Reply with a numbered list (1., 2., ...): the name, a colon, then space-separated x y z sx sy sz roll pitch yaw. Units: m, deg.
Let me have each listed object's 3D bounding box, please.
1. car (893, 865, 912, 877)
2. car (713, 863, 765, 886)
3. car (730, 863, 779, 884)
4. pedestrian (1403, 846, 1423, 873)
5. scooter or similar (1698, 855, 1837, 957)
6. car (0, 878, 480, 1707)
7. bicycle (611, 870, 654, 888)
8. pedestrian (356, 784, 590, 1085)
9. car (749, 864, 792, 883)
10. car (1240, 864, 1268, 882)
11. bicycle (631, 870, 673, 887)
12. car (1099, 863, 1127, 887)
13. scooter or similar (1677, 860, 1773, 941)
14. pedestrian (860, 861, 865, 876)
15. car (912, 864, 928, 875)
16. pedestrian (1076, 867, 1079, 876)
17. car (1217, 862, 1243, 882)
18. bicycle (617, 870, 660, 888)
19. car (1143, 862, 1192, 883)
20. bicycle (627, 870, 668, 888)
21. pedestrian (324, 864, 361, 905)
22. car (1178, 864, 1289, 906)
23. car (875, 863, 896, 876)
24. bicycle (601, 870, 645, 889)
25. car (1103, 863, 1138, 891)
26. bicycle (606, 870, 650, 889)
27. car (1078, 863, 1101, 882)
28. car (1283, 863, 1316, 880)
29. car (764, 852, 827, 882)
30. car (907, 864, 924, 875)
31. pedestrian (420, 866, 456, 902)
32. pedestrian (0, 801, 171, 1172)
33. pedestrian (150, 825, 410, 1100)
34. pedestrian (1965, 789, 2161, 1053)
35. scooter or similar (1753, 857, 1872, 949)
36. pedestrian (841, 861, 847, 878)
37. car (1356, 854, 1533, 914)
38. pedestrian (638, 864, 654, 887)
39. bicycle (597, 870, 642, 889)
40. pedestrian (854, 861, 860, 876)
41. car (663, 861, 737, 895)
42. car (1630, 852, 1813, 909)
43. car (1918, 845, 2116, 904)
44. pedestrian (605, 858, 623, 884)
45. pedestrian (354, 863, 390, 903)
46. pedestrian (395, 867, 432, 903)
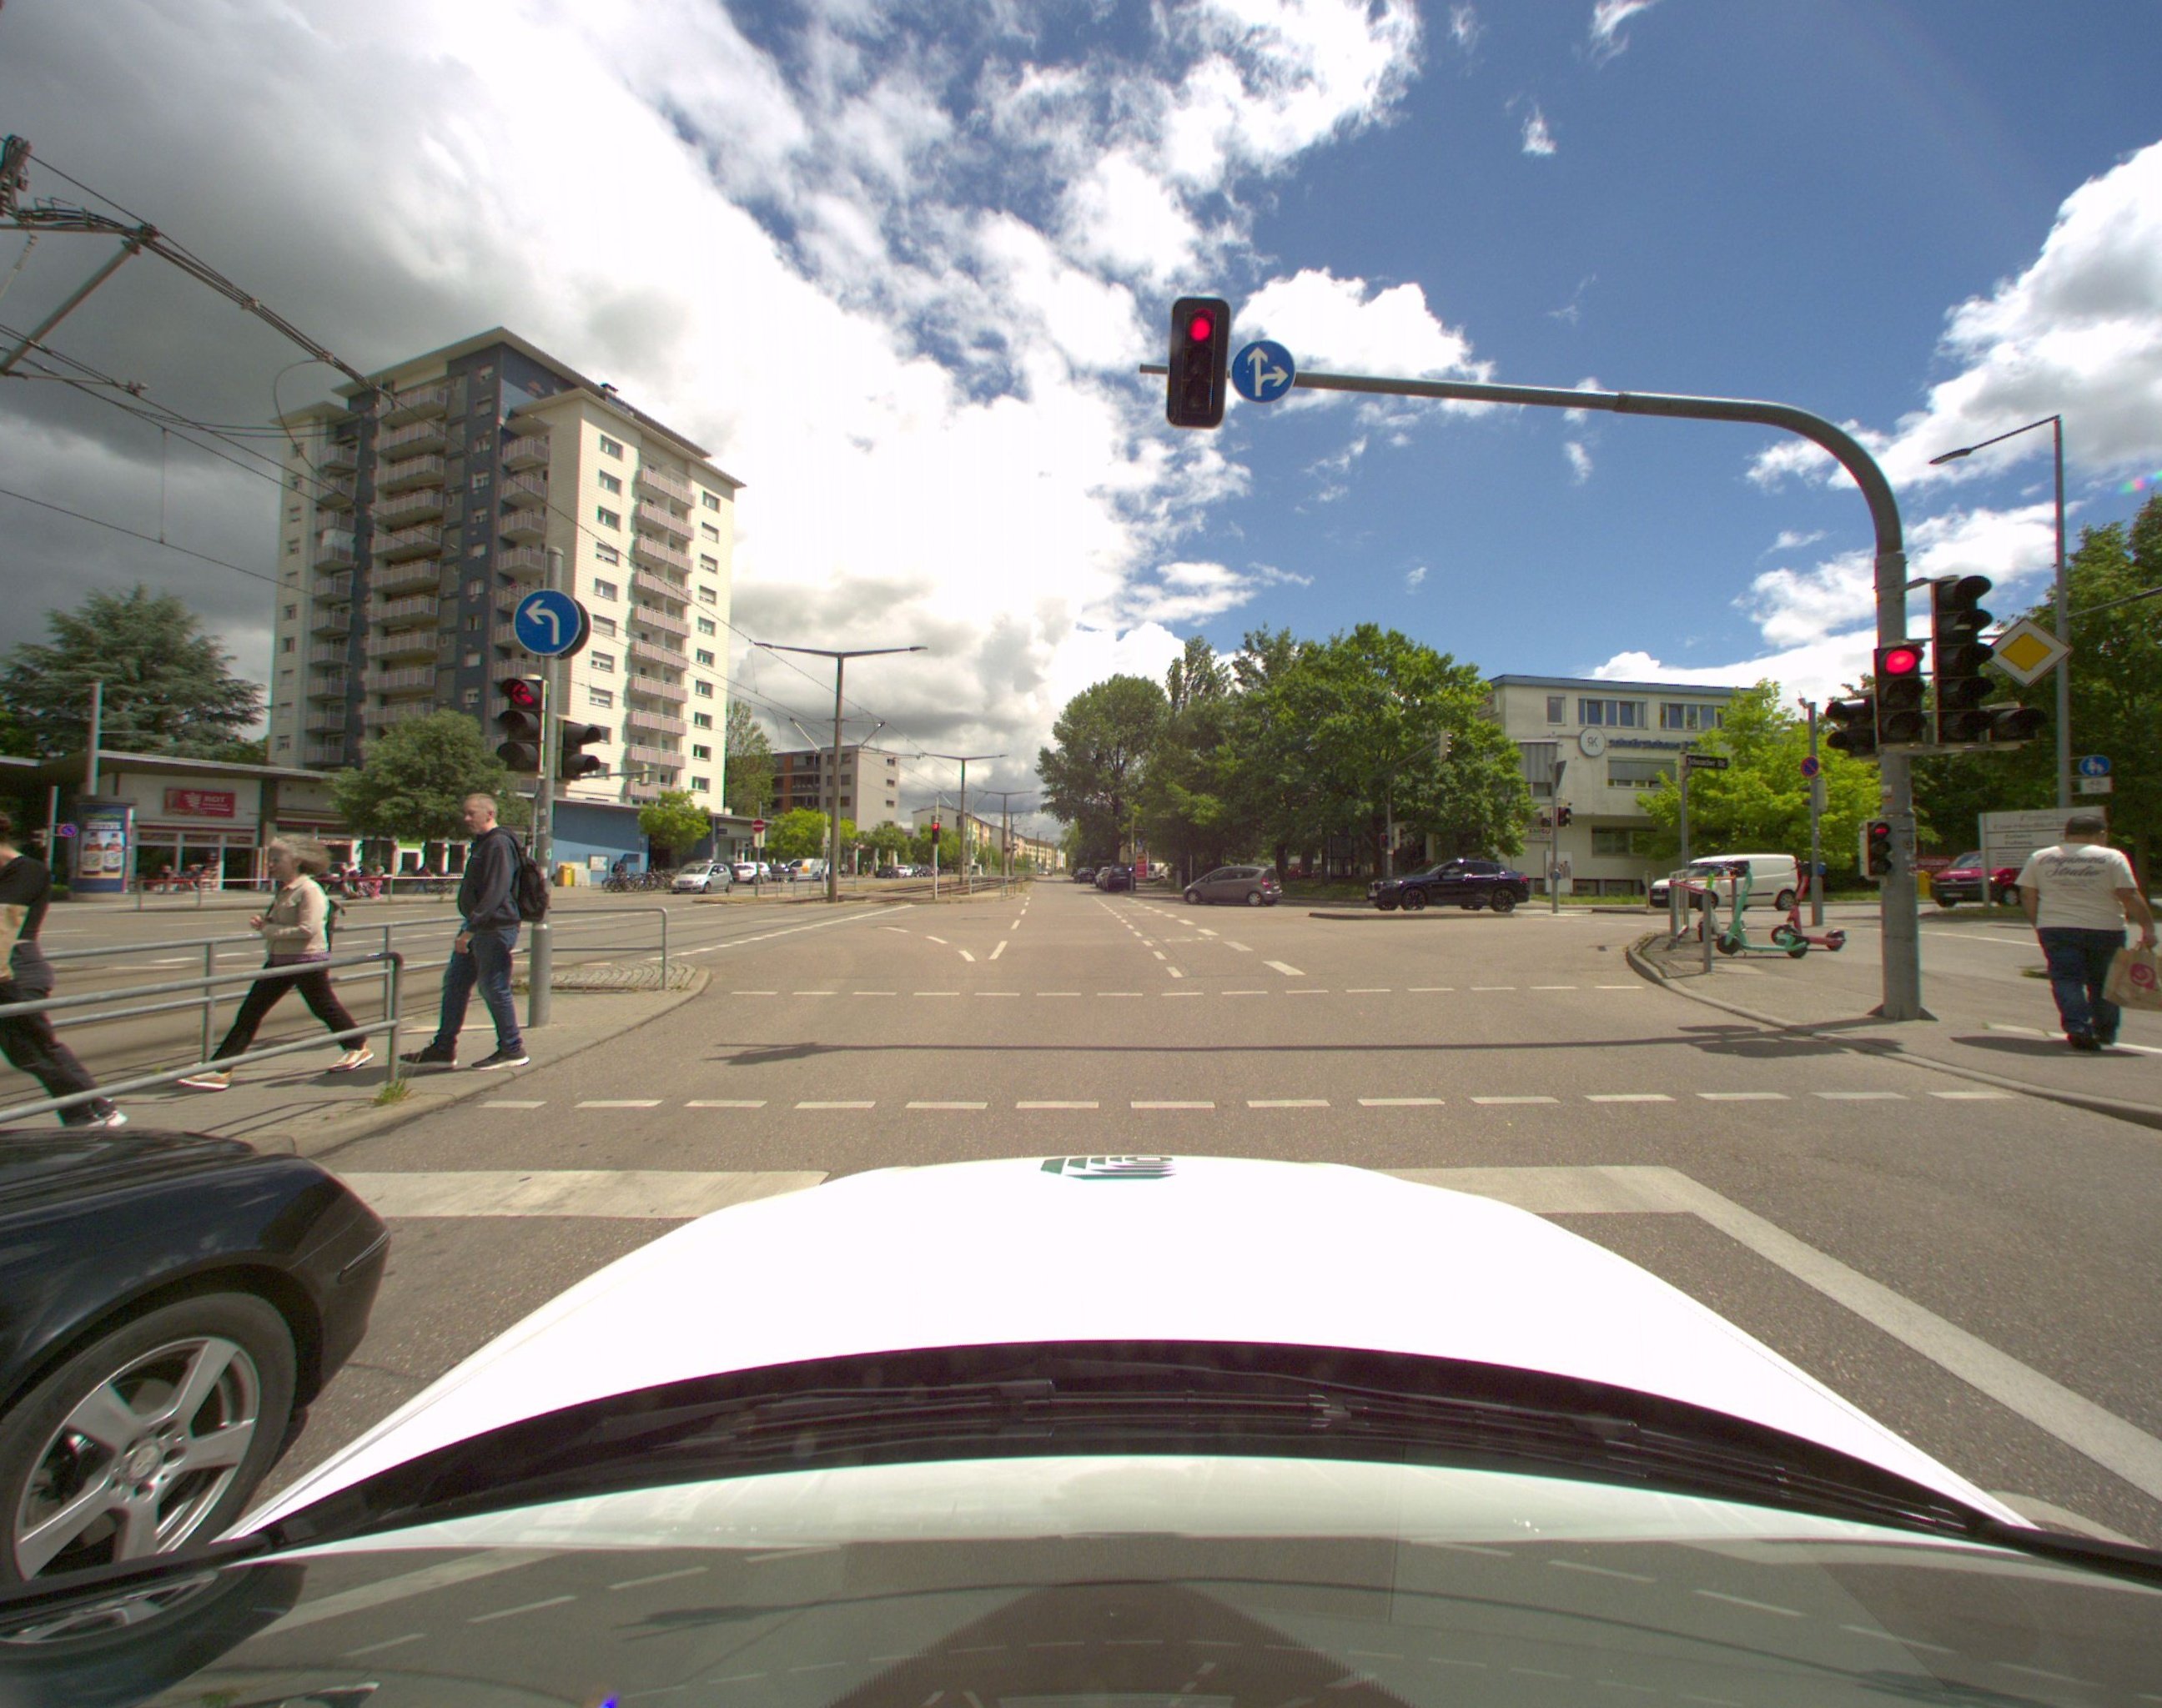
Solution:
1. car: -21.667 2.065 99.106 1.758 1.395 3.993 0 0 -5
2. car: -24.666 1.421 58.666 4.165 1.570 1.973 -1 -1 45
3. car: -24.859 1.443 61.943 4.165 1.538 1.973 -1 -1 45
4. pedestrian: 20.050 0.339 49.216 0.768 1.643 0.904 0 -1 -11
5. scooter or similar: 8.850 0.655 10.534 1.336 1.277 0.463 0 0 8
6. car: -2.744 0.792 0.182 1.721 1.461 4.546 0 0 2
7. bicycle: -23.534 1.317 42.776 1.943 0.935 0.494 0 -1 -5
8. pedestrian: -4.213 0.520 5.732 0.963 1.942 0.896 0 0 -3
9. car: -24.912 1.558 65.210 1.800 1.420 4.166 0 -1 -43
10. car: 15.921 1.760 75.113 1.626 1.573 4.030 0 0 -1
11. bicycle: -23.365 1.332 44.381 1.943 0.935 0.494 0 -1 -5
12. car: 2.328 1.562 59.341 1.986 1.684 4.001 0 -1 2
13. scooter or similar: 9.751 0.688 12.323 1.360 1.156 0.540 1 0 -23
14. pedestrian: -24.984 1.608 93.127 0.547 1.716 0.667 0 -1 -8
15. car: -21.815 2.043 110.352 1.758 1.395 3.993 0 0 -5
16. pedestrian: -0.651 2.929 137.269 0.477 1.637 0.454 0 -1 1
17. car: 13.643 1.644 74.644 1.626 1.811 4.030 0 0 -1
18. bicycle: -23.521 1.322 43.322 1.943 0.935 0.494 0 -1 -5
19. car: 7.765 1.636 73.295 4.001 1.823 1.766 0 -1 -21
20. bicycle: -23.348 1.326 43.880 1.943 0.935 0.494 0 -1 -5
21. pedestrian: -30.524 1.248 33.667 1.105 1.659 0.936 0 -2 -44
22. car: 6.042 1.181 32.299 3.869 1.556 2.013 0 -1 32
23. car: -22.011 1.695 91.798 1.758 1.395 3.993 0 0 -5
24. bicycle: -23.485 1.306 41.793 1.943 0.935 0.494 0 -1 -5
25. car: 2.487 1.455 51.886 2.144 1.684 4.001 0 -1 2
26. bicycle: -23.510 1.311 42.299 1.943 0.935 0.494 0 -1 -5
27. car: 0.804 1.705 74.558 1.986 1.684 4.002 0 0 2
28. car: 20.559 1.638 76.682 1.728 1.595 3.992 0 0 -5
29. car: -24.689 1.090 70.209 2.848 2.479 6.641 0 -1 -42
30. car: -21.461 2.042 105.776 1.758 1.395 3.993 0 0 -5
31. pedestrian: -30.378 1.426 38.470 0.957 1.659 1.002 -1 -1 27
32. pedestrian: -5.605 0.630 4.188 0.933 1.765 0.769 0 0 -10
33. pedestrian: -5.423 0.671 5.563 0.861 1.674 0.960 -2 -1 18
34. pedestrian: 7.351 0.460 6.027 0.868 1.808 0.739 0 0 -10
35. scooter or similar: 10.236 0.676 11.411 1.225 1.240 0.555 2 0 -7
36. pedestrian: -24.006 1.553 82.491 0.545 1.716 0.405 0 -1 1
37. car: 10.978 0.868 24.773 4.553 1.717 1.995 0 0 -7
38. pedestrian: -29.771 1.464 55.758 0.767 1.615 0.695 0 -1 -12
39. bicycle: -23.431 1.301 41.329 1.943 0.935 0.494 0 -1 -5
40. pedestrian: -25.092 1.594 91.253 0.547 1.716 0.404 0 -1 -8
41. car: -19.812 1.218 42.576 1.930 1.693 3.874 0 0 2
42. car: 20.376 0.816 26.013 4.555 1.717 1.995 0 0 -8
43. car: 31.125 0.693 27.152 4.800 1.864 1.994 0 -2 -8
44. pedestrian: -28.738 1.047 50.123 0.767 1.615 0.695 0 -1 -12
45. pedestrian: -30.391 1.220 34.901 1.105 1.659 0.936 0 -2 -44
46. pedestrian: -30.692 1.418 37.445 0.957 1.659 1.002 -1 -1 27
